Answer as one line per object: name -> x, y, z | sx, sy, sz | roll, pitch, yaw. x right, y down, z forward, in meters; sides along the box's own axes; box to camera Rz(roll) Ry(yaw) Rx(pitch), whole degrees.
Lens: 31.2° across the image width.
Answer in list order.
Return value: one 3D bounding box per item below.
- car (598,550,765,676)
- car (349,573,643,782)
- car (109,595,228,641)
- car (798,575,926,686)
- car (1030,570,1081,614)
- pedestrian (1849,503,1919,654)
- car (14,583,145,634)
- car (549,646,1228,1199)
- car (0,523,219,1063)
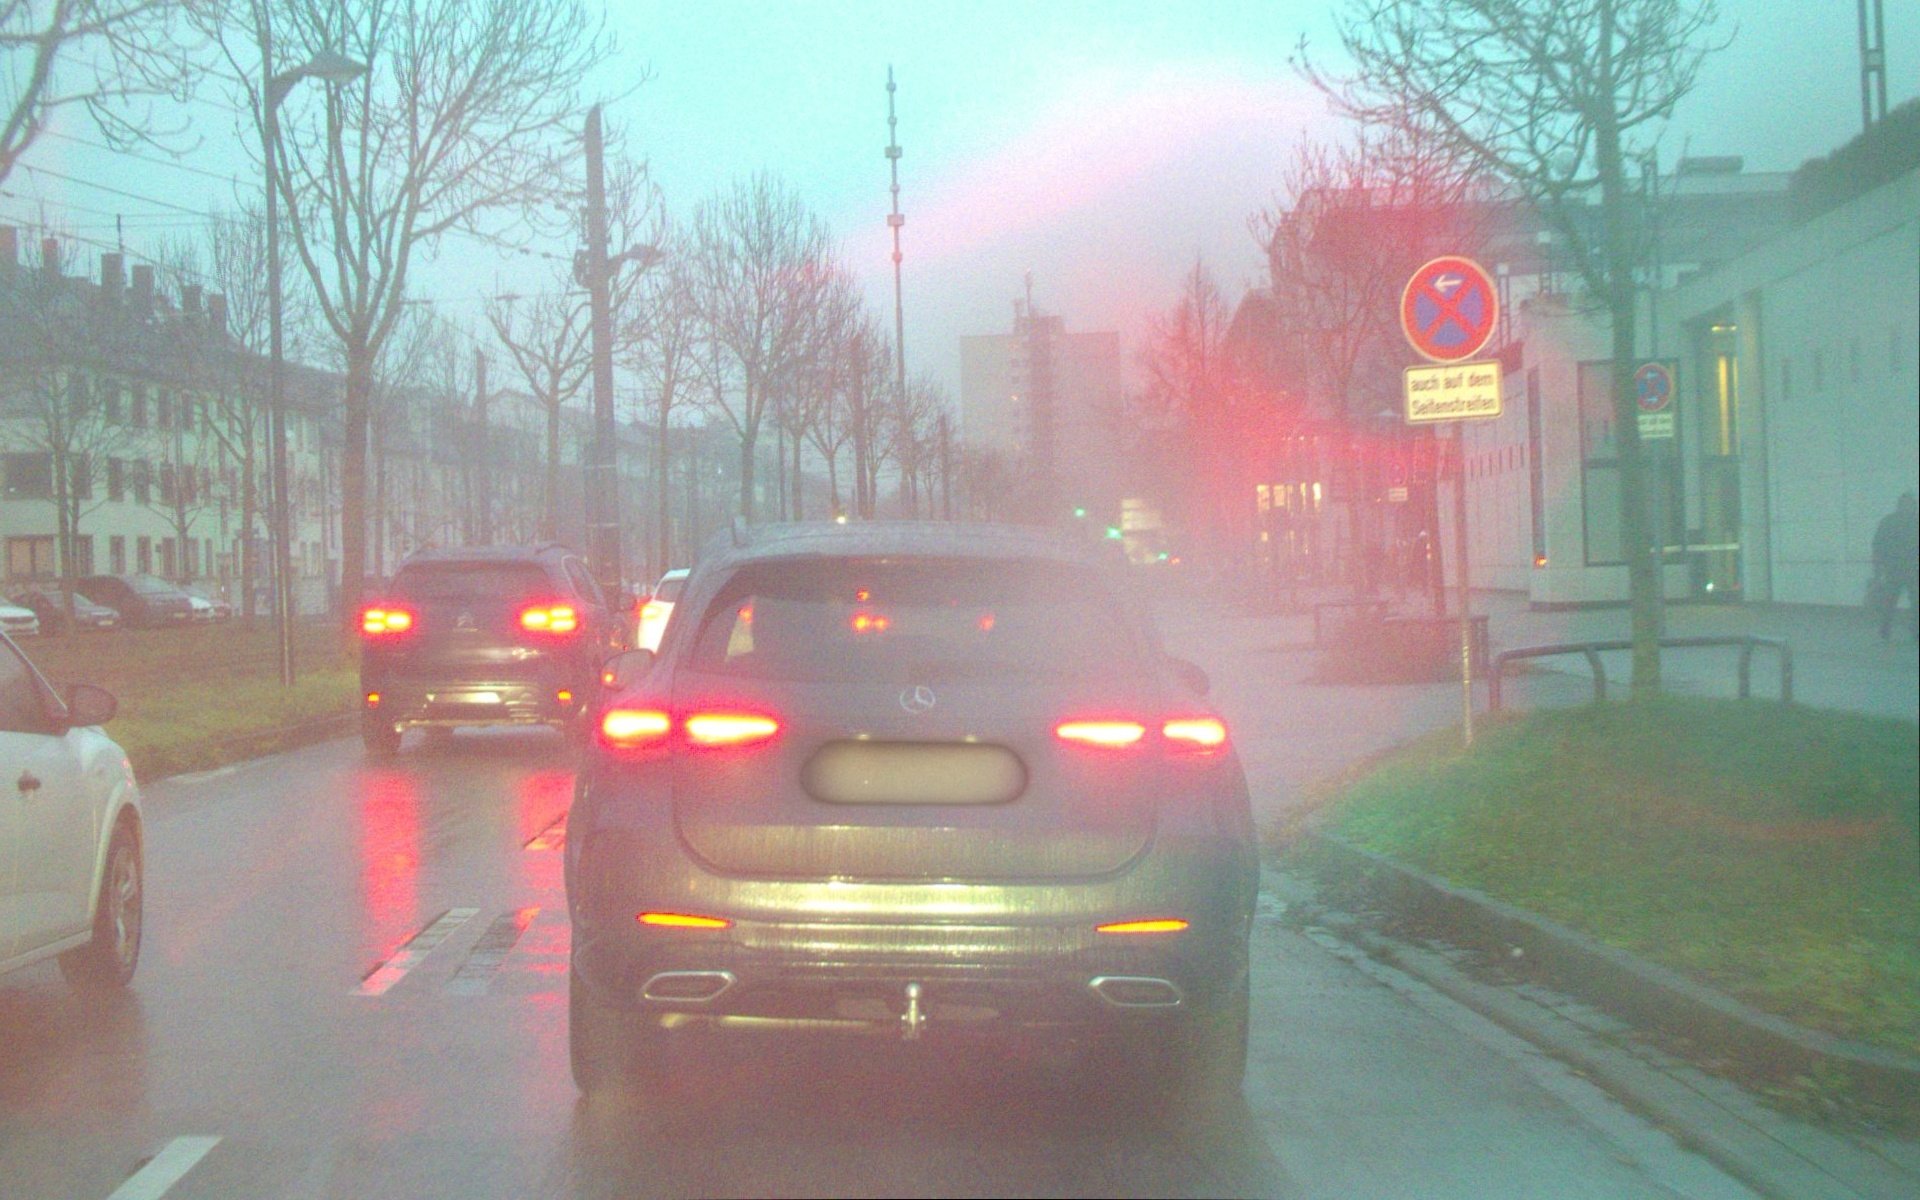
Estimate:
car -> -3.659, 0.154, 45.779 | 1.672, 1.594, 4.053 | 0, 0, 3
car -> -3.758, 0.590, 28.496 | 1.672, 1.594, 4.053 | 0, 0, 3
car -> -25.227, 0.577, 109.488 | 3.552, 1.349, 1.778 | -1, 1, 36
car -> -1.812, 0.564, 64.865 | 1.994, 2.007, 3.999 | 1, 0, 4
car -> 3.948, -0.345, 141.244 | 1.994, 1.723, 4.000 | -2, 0, 2
pedestrian -> 10.310, -0.240, 37.603 | 0.937, 1.612, 0.695 | -2, 0, 0
car -> -25.498, 0.258, 99.530 | 3.552, 1.349, 1.778 | -1, 1, 36
car -> -0.069, 0.981, 10.510 | 1.672, 1.594, 4.053 | 0, 0, 3
car -> -3.657, 0.572, 10.792 | 1.672, 1.594, 4.053 | 0, 0, 2
